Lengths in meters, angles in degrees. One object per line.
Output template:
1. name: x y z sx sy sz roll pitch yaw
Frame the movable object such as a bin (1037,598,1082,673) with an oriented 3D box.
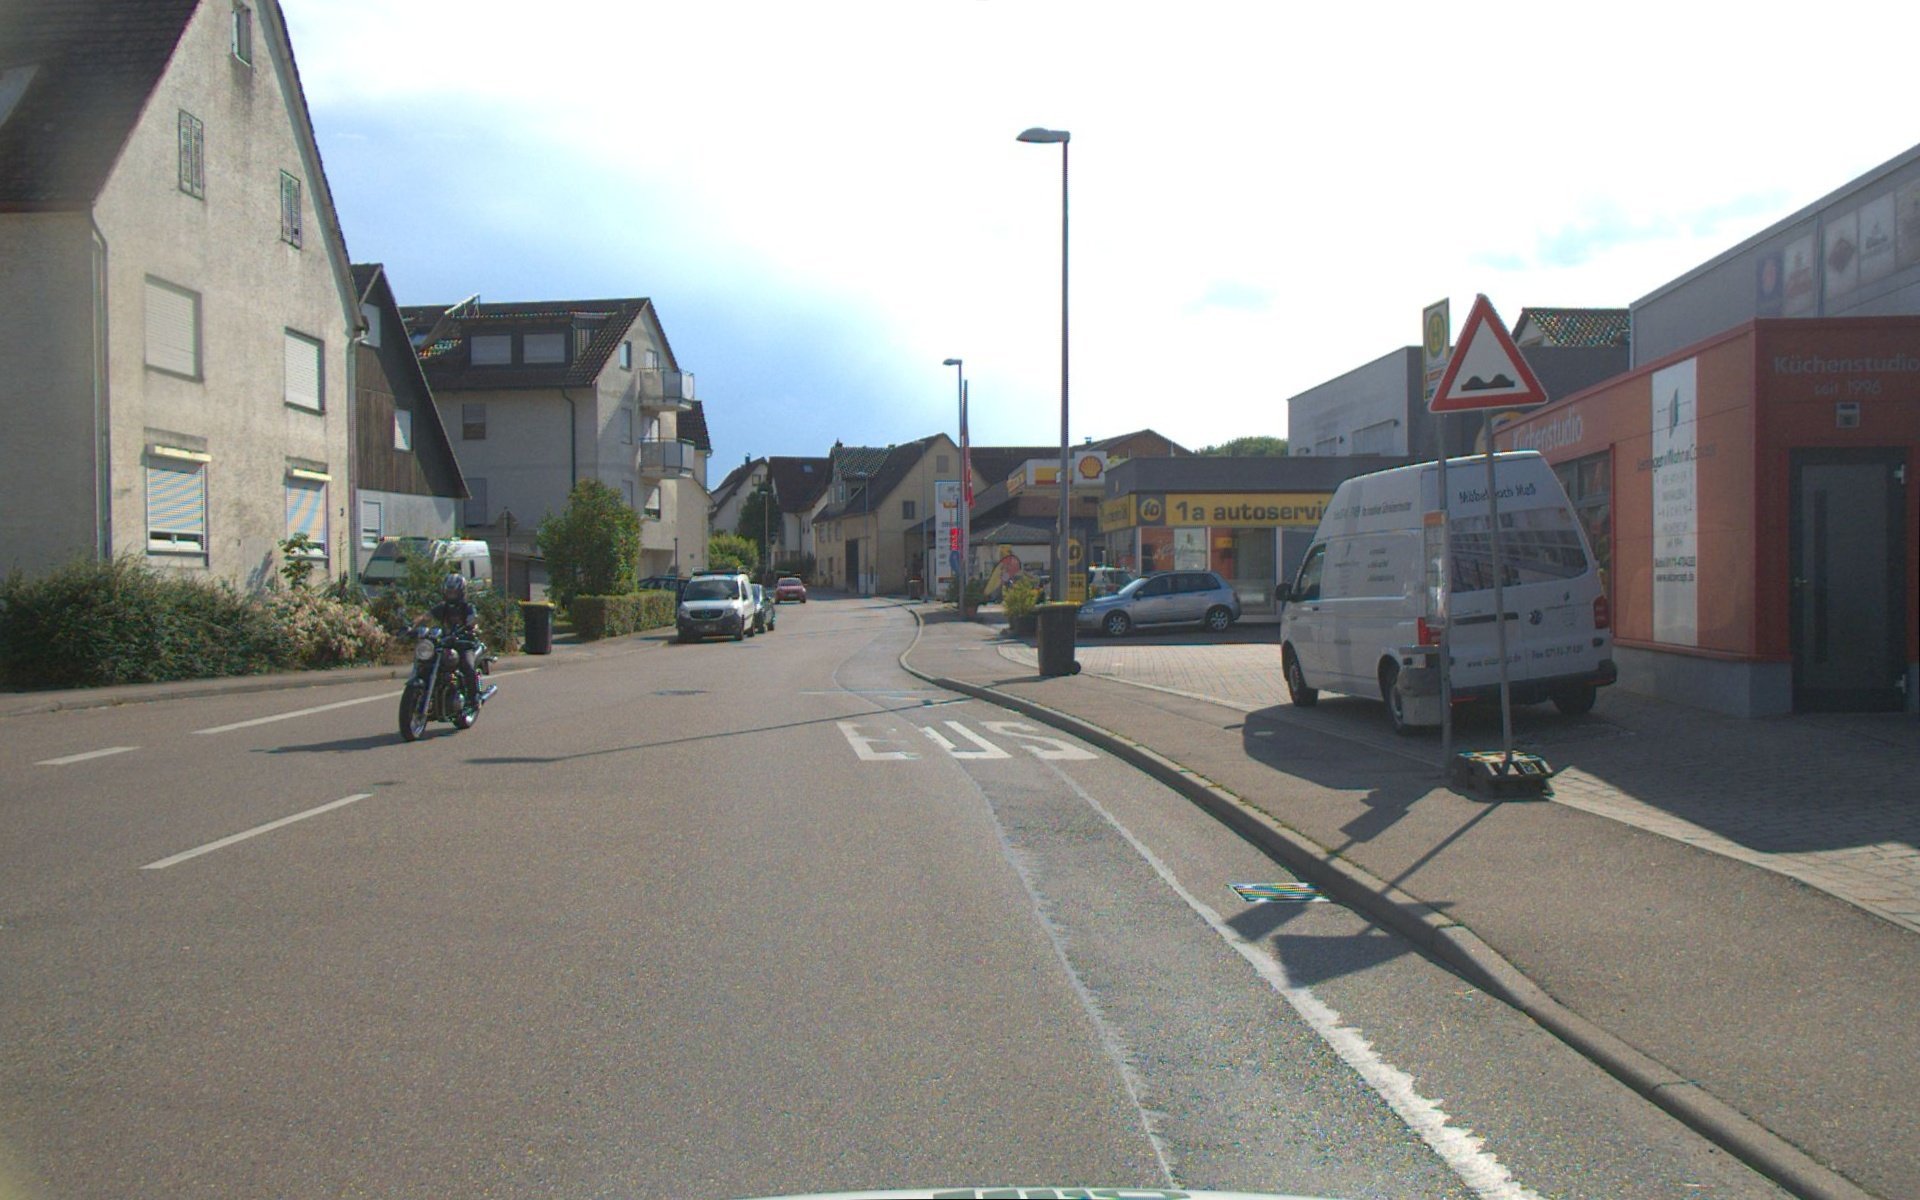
1. movable object such as a bin: 1.490 0.523 24.862 0.556 1.094 0.572 -2 1 -6

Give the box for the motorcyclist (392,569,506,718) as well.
1. motorcyclist: -5.188 0.424 16.848 0.786 1.461 1.037 1 0 3

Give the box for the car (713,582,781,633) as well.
1. car: -6.597 0.208 51.465 1.639 1.477 3.834 -1 1 -1

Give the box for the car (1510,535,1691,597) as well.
1. car: 15.779 -0.856 40.851 3.829 1.433 1.715 -1 2 -6

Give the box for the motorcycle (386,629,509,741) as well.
1. motorcycle: -5.199 0.832 16.901 0.513 1.030 2.028 1 0 3

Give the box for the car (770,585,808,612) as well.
1. car: -9.902 -0.103 95.620 1.679 1.459 3.768 -2 1 -13

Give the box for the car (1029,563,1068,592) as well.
1. car: 4.541 -1.182 85.371 1.547 1.452 4.378 0 1 -4

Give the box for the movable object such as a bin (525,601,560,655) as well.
1. movable object such as a bin: -8.794 0.578 34.846 0.598 1.120 0.575 0 -1 -2

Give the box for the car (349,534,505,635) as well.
1. car: -14.766 -0.463 46.256 2.113 2.641 6.097 0 1 3

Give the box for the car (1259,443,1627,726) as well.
1. car: 4.662 -0.166 16.908 1.801 2.416 5.173 -1 1 -5

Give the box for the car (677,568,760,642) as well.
1. car: -6.641 0.096 45.852 1.681 1.905 4.191 -2 1 -1

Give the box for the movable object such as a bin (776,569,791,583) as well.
1. movable object such as a bin: -15.410 -2.079 144.373 1.141 1.188 0.652 -1 1 -15

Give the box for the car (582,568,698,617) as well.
1. car: -12.200 -0.300 63.168 3.903 1.565 1.764 4 2 9

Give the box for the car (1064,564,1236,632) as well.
1. car: 4.639 -0.053 40.528 3.915 1.558 1.524 -1 1 -10
